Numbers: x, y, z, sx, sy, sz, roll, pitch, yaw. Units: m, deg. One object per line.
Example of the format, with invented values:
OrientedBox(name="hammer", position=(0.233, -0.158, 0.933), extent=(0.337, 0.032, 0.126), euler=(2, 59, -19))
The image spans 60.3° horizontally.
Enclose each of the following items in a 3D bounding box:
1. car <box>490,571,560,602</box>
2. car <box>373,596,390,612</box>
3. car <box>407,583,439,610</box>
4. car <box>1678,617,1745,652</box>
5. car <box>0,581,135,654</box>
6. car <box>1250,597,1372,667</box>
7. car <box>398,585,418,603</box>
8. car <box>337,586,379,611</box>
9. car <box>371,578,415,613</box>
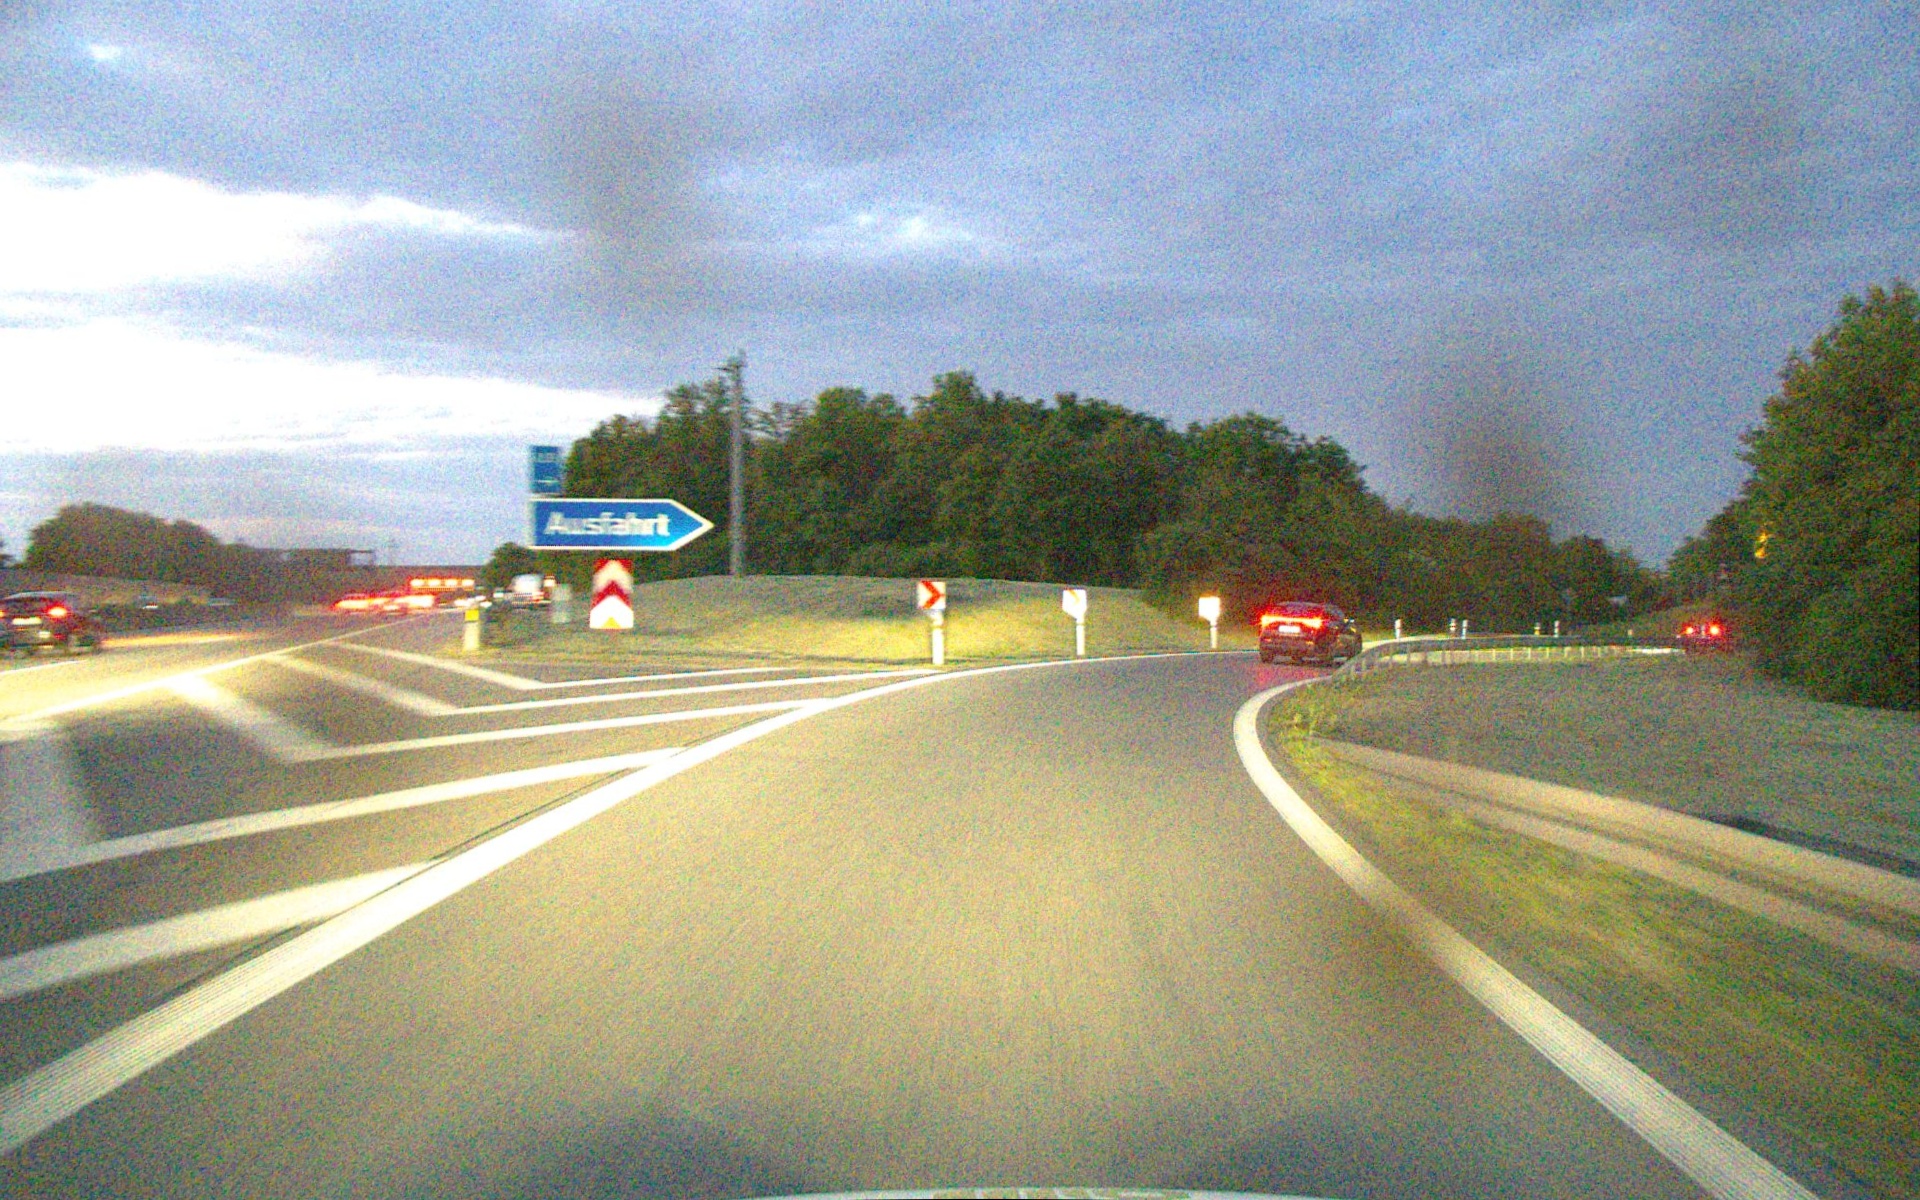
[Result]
OrientedBox(name="car", position=(-30.227, -0.932, 114.859), extent=(5.051, 2.049, 2.257), euler=(1, 1, 41))
OrientedBox(name="car", position=(-81.176, 0.504, 232.116), extent=(2.072, 2.048, 3.981), euler=(-3, 1, -17))
OrientedBox(name="car", position=(-44.112, -0.297, 135.881), extent=(1.958, 2.048, 3.989), euler=(-2, 1, -11))
OrientedBox(name="car", position=(36.847, 1.674, 81.065), extent=(1.964, 1.626, 3.978), euler=(2, 1, 41))
OrientedBox(name="car", position=(-20.958, 0.359, 38.590), extent=(1.959, 1.524, 4.534), euler=(-1, 1, -13))
OrientedBox(name="car", position=(9.339, 0.807, 43.763), extent=(1.956, 1.688, 4.307), euler=(1, 1, 29))
OrientedBox(name="car", position=(-66.626, -0.741, 199.608), extent=(2.042, 2.048, 3.975), euler=(-2, 1, -21))
OrientedBox(name="car", position=(-43.710, -0.133, 120.154), extent=(1.957, 1.671, 4.546), euler=(-2, 1, -9))
OrientedBox(name="car", position=(-33.690, -0.290, 98.427), extent=(1.959, 2.048, 3.988), euler=(-1, 1, -12))
